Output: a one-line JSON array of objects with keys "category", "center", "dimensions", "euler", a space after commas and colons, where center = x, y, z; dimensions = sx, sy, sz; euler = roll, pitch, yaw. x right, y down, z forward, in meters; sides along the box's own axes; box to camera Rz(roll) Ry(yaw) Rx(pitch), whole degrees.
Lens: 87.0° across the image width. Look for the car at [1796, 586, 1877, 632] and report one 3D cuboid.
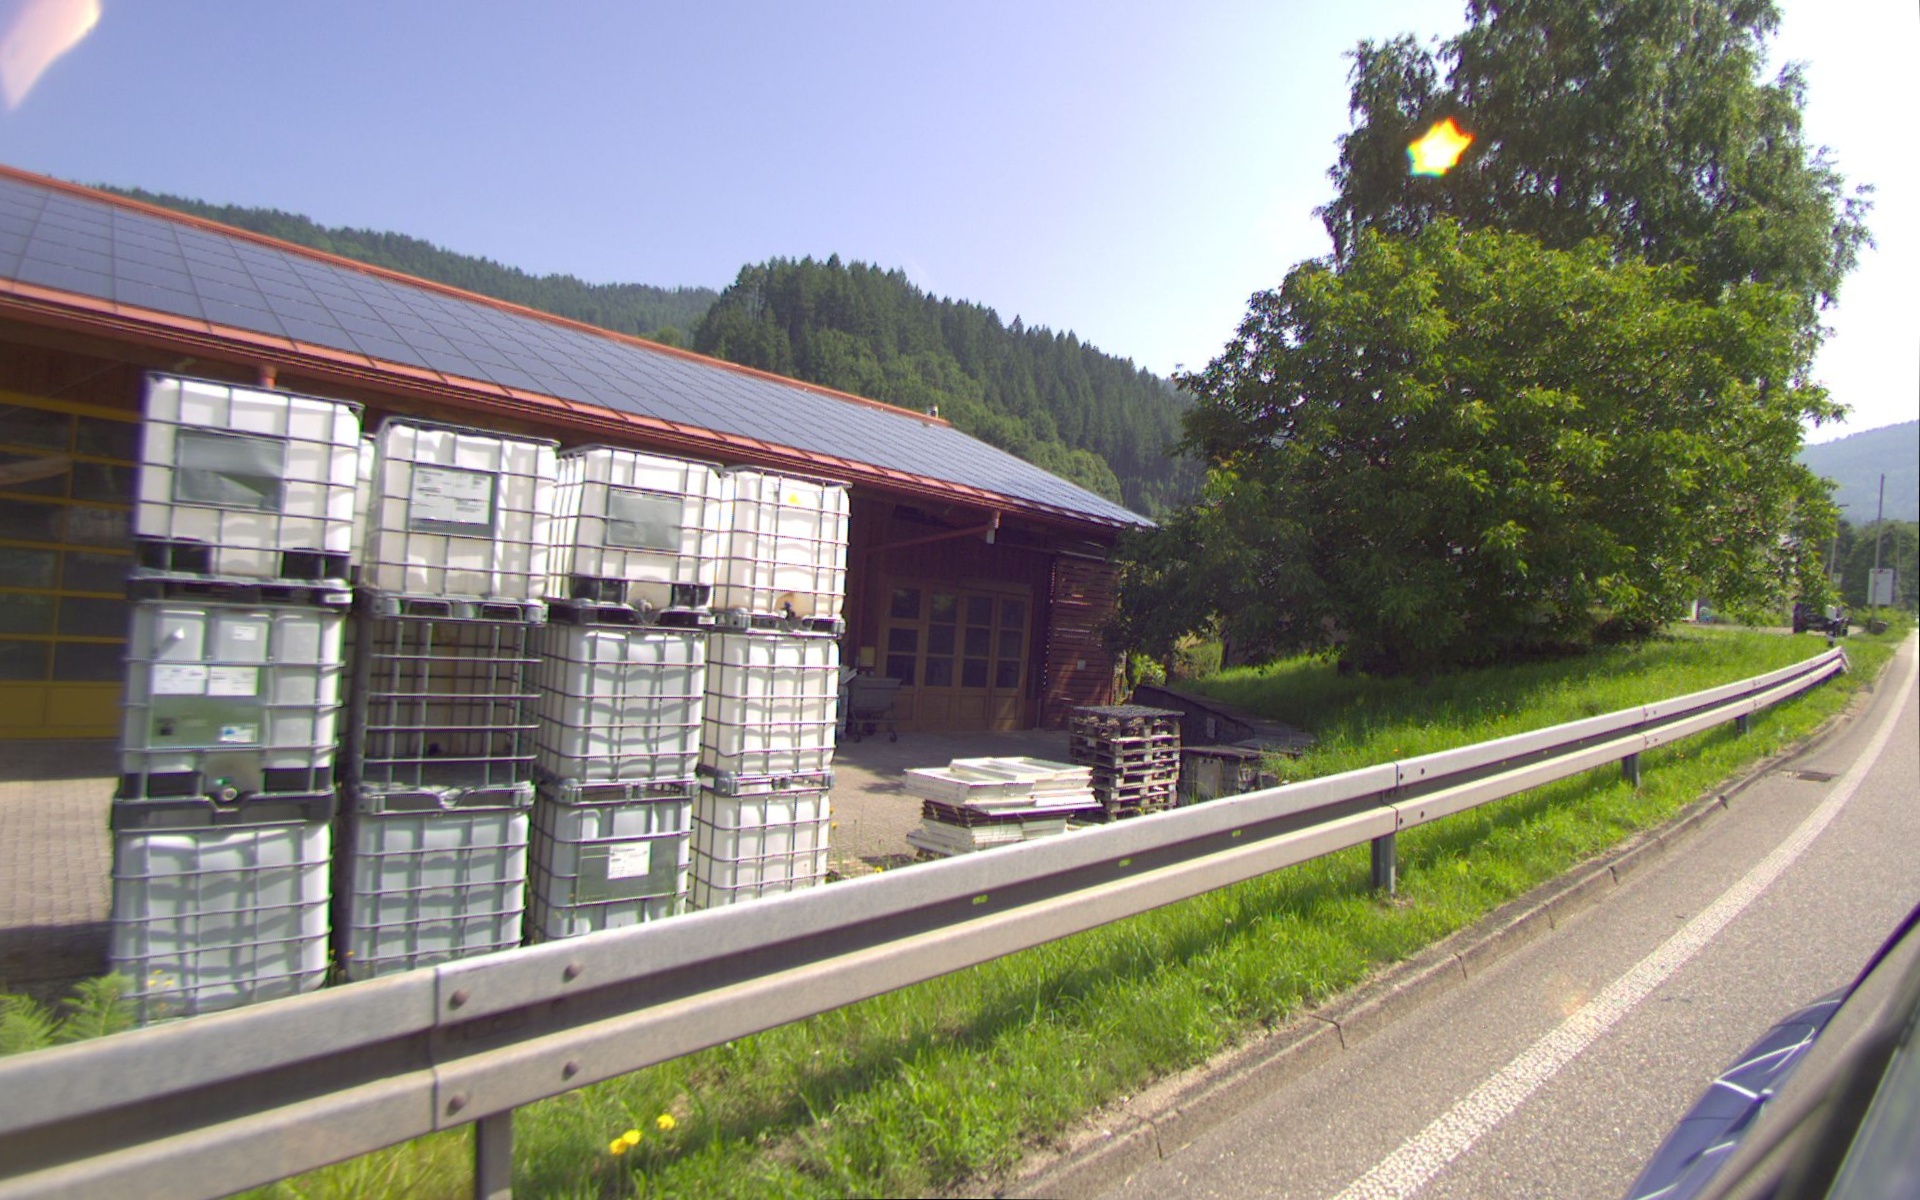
[{"category": "car", "center": [39.070, 0.413, 45.062], "dimensions": [4.577, 1.835, 1.814], "euler": [1, 3, -38]}]
